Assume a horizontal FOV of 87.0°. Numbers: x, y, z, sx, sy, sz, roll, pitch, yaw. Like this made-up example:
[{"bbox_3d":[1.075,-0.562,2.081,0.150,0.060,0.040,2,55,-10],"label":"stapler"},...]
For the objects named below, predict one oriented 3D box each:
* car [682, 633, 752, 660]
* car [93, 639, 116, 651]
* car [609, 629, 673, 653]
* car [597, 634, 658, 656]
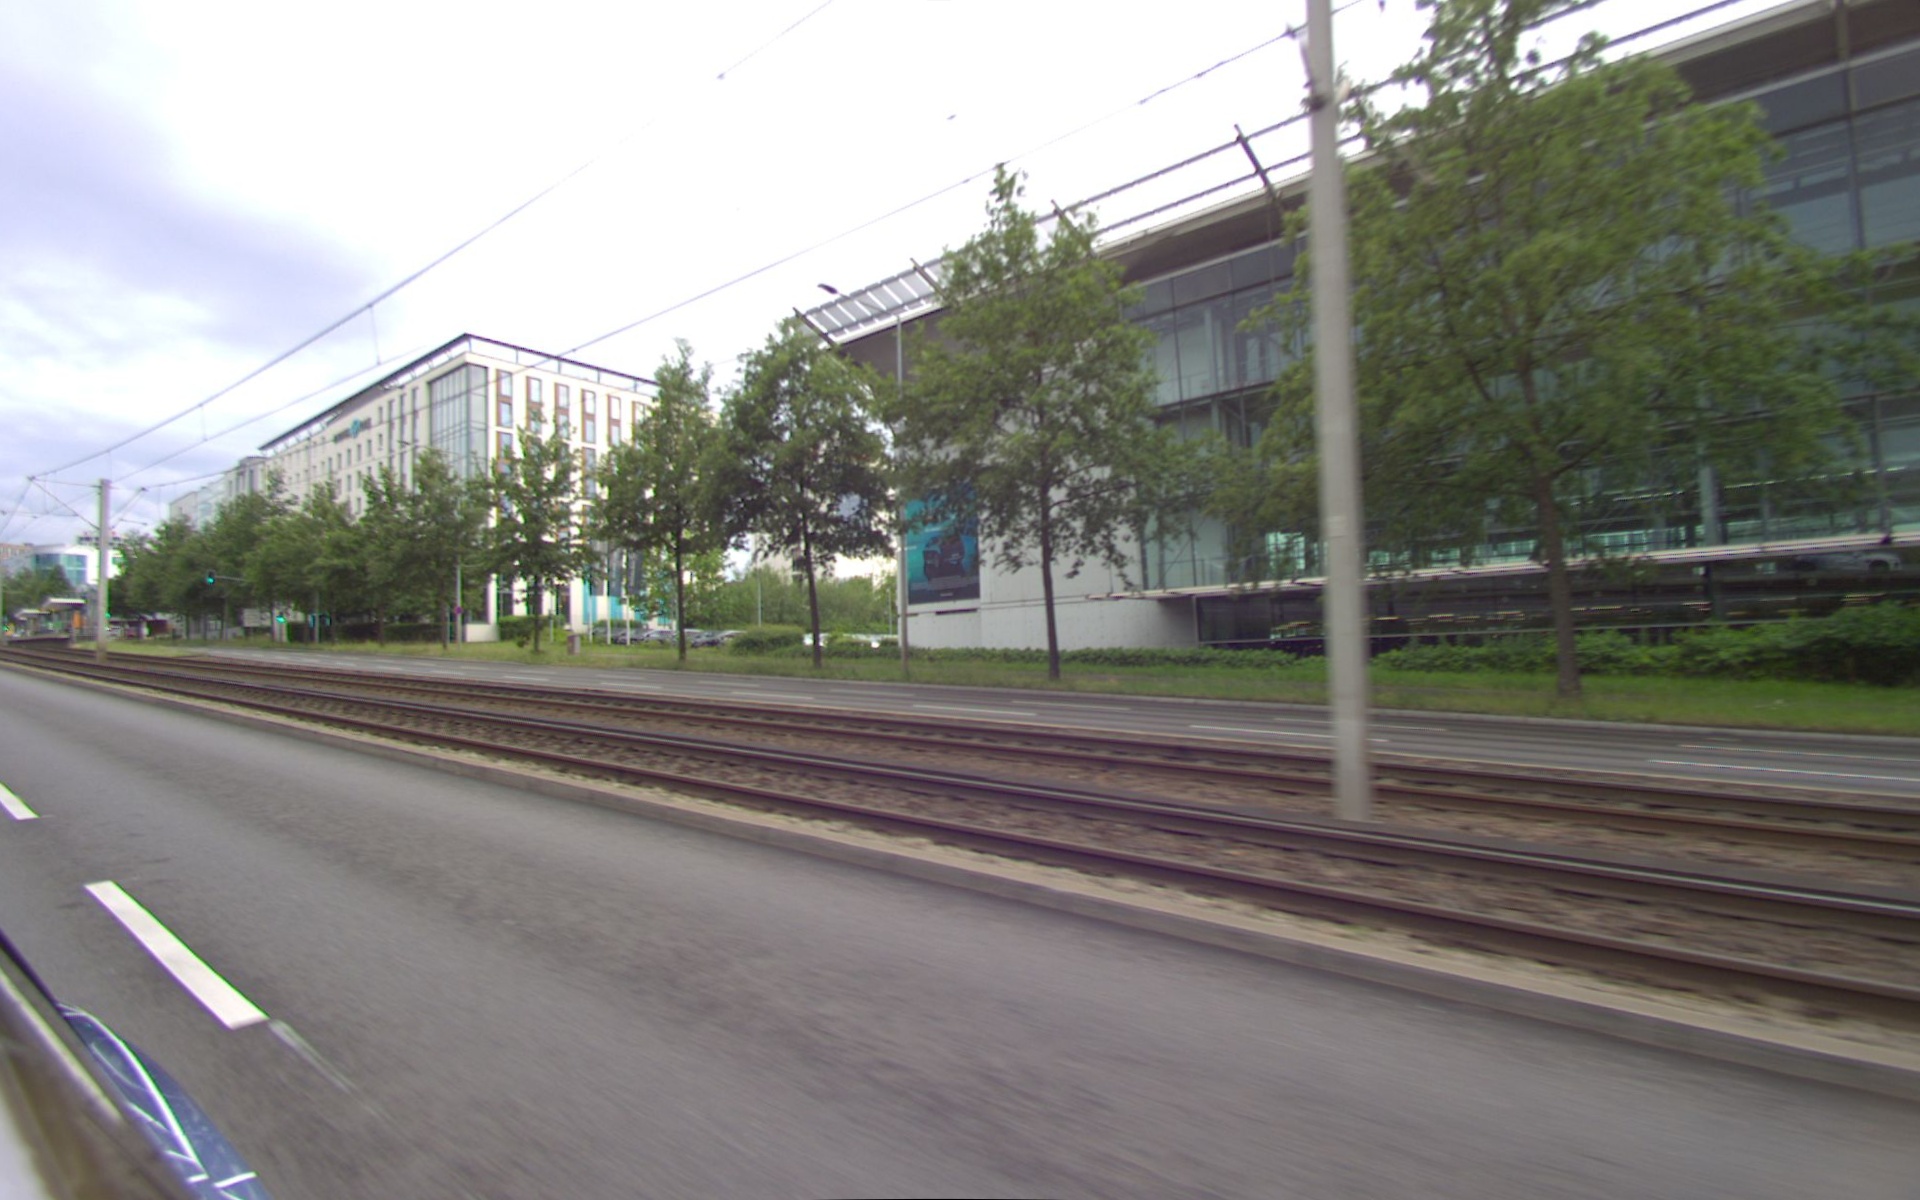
[{"bbox_3d":[-14.852,2.811,61.760,3.931,1.401,1.809,-1,0,-22],"label":"car"},{"bbox_3d":[-103.807,5.497,122.789,3.818,1.375,1.678,-2,-5,44],"label":"car"},{"bbox_3d":[-21.484,2.759,68.172,3.931,1.401,1.809,-1,0,-22],"label":"car"},{"bbox_3d":[-23.186,3.117,70.528,3.931,1.401,1.809,-1,0,-22],"label":"car"}]
